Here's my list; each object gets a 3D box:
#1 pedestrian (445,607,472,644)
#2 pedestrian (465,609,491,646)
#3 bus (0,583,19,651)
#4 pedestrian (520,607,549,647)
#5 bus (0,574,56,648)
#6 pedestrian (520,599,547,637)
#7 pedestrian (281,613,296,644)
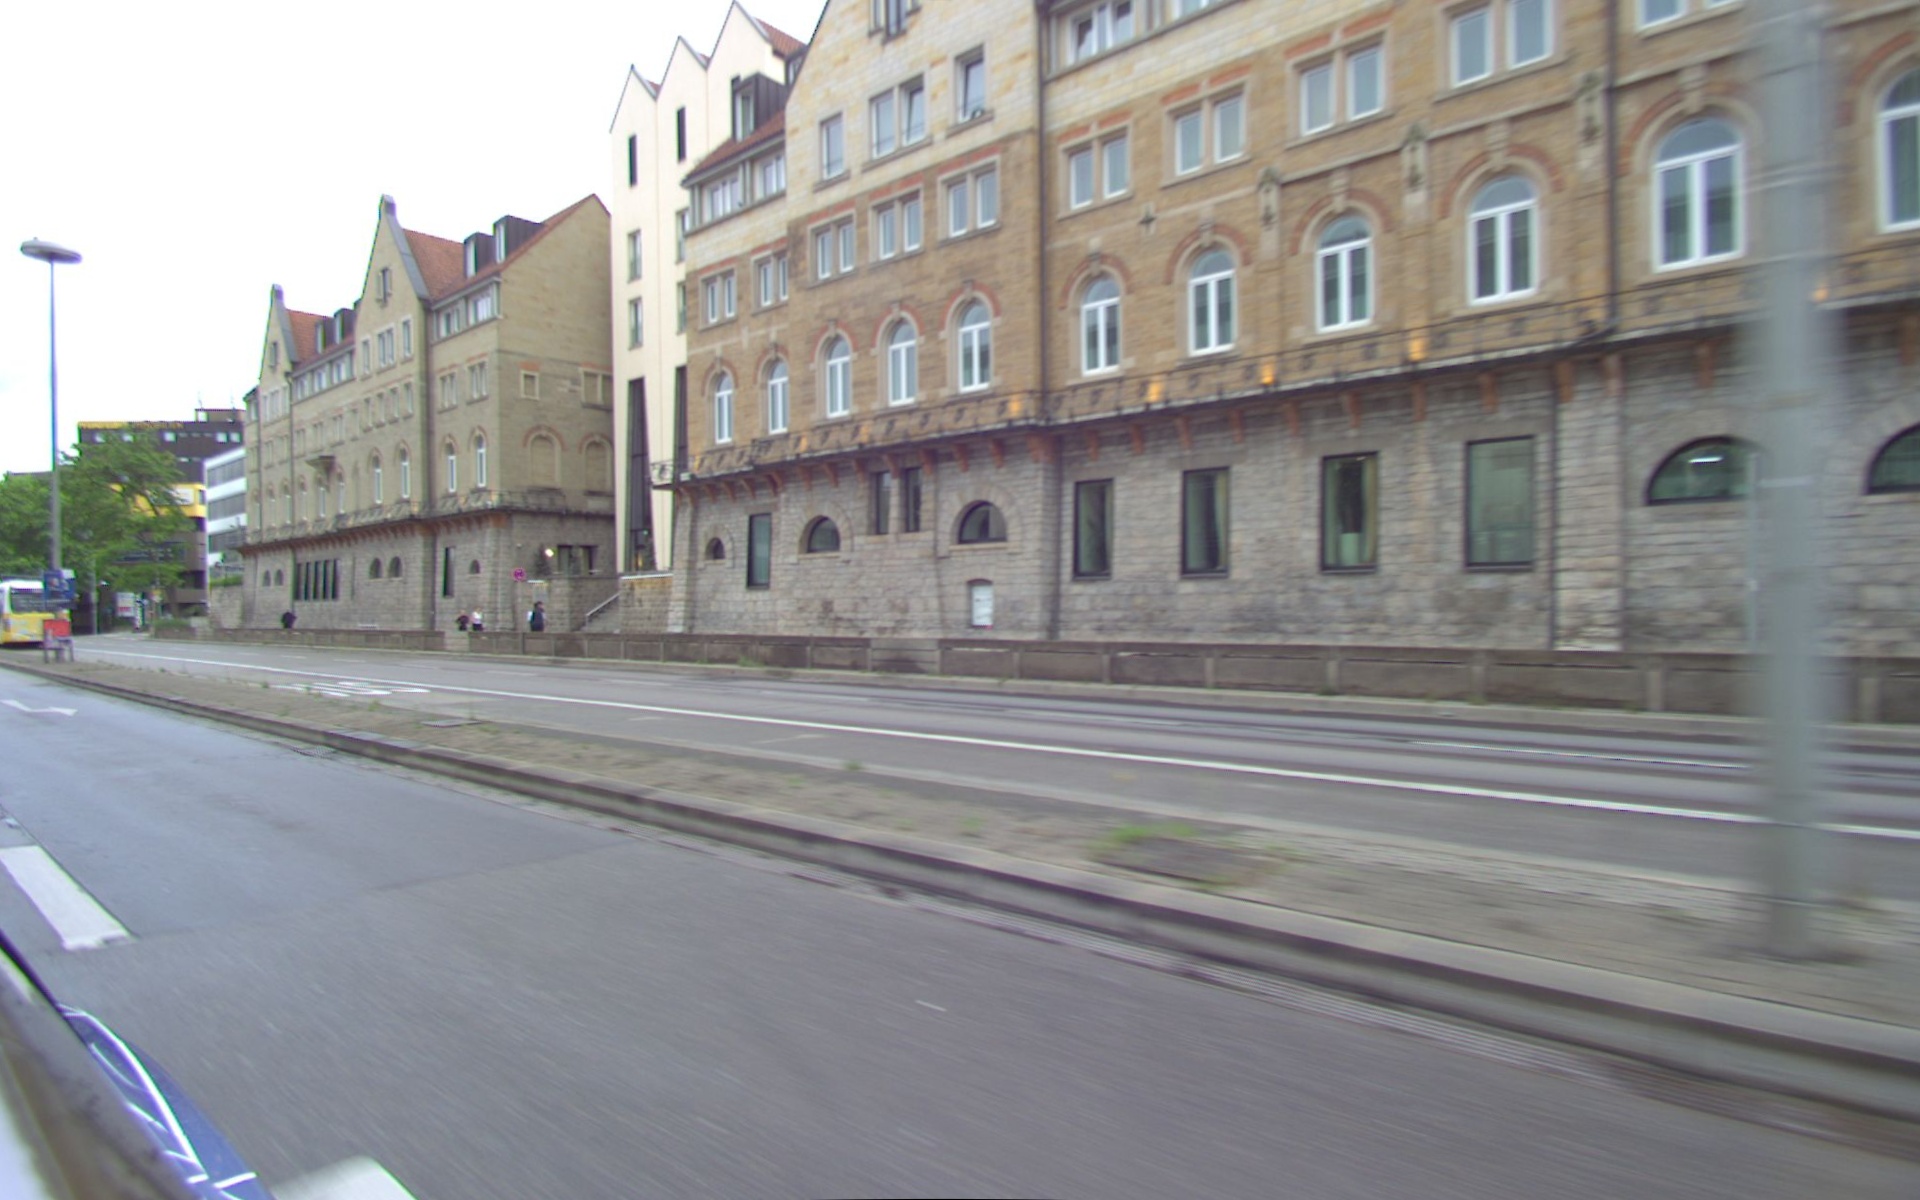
[{"bbox_3d":[-20.232,1.025,40.831,0.713,1.489,0.746,-3,-3,40],"label":"pedestrian"},{"bbox_3d":[-19.721,1.121,41.420,0.713,1.489,0.746,-3,-3,40],"label":"pedestrian"},{"bbox_3d":[-57.750,1.137,59.294,10.086,3.586,2.671,-5,-4,40],"label":"bus"},{"bbox_3d":[-16.118,1.036,38.350,0.713,1.489,0.746,-3,-3,40],"label":"pedestrian"},{"bbox_3d":[-49.928,0.692,52.909,10.086,3.586,2.671,-3,-2,41],"label":"bus"},{"bbox_3d":[-17.041,0.737,40.451,0.713,1.489,0.746,-3,-3,40],"label":"pedestrian"},{"bbox_3d":[-39.579,1.689,59.625,0.631,1.759,0.623,0,-3,-24],"label":"pedestrian"}]
